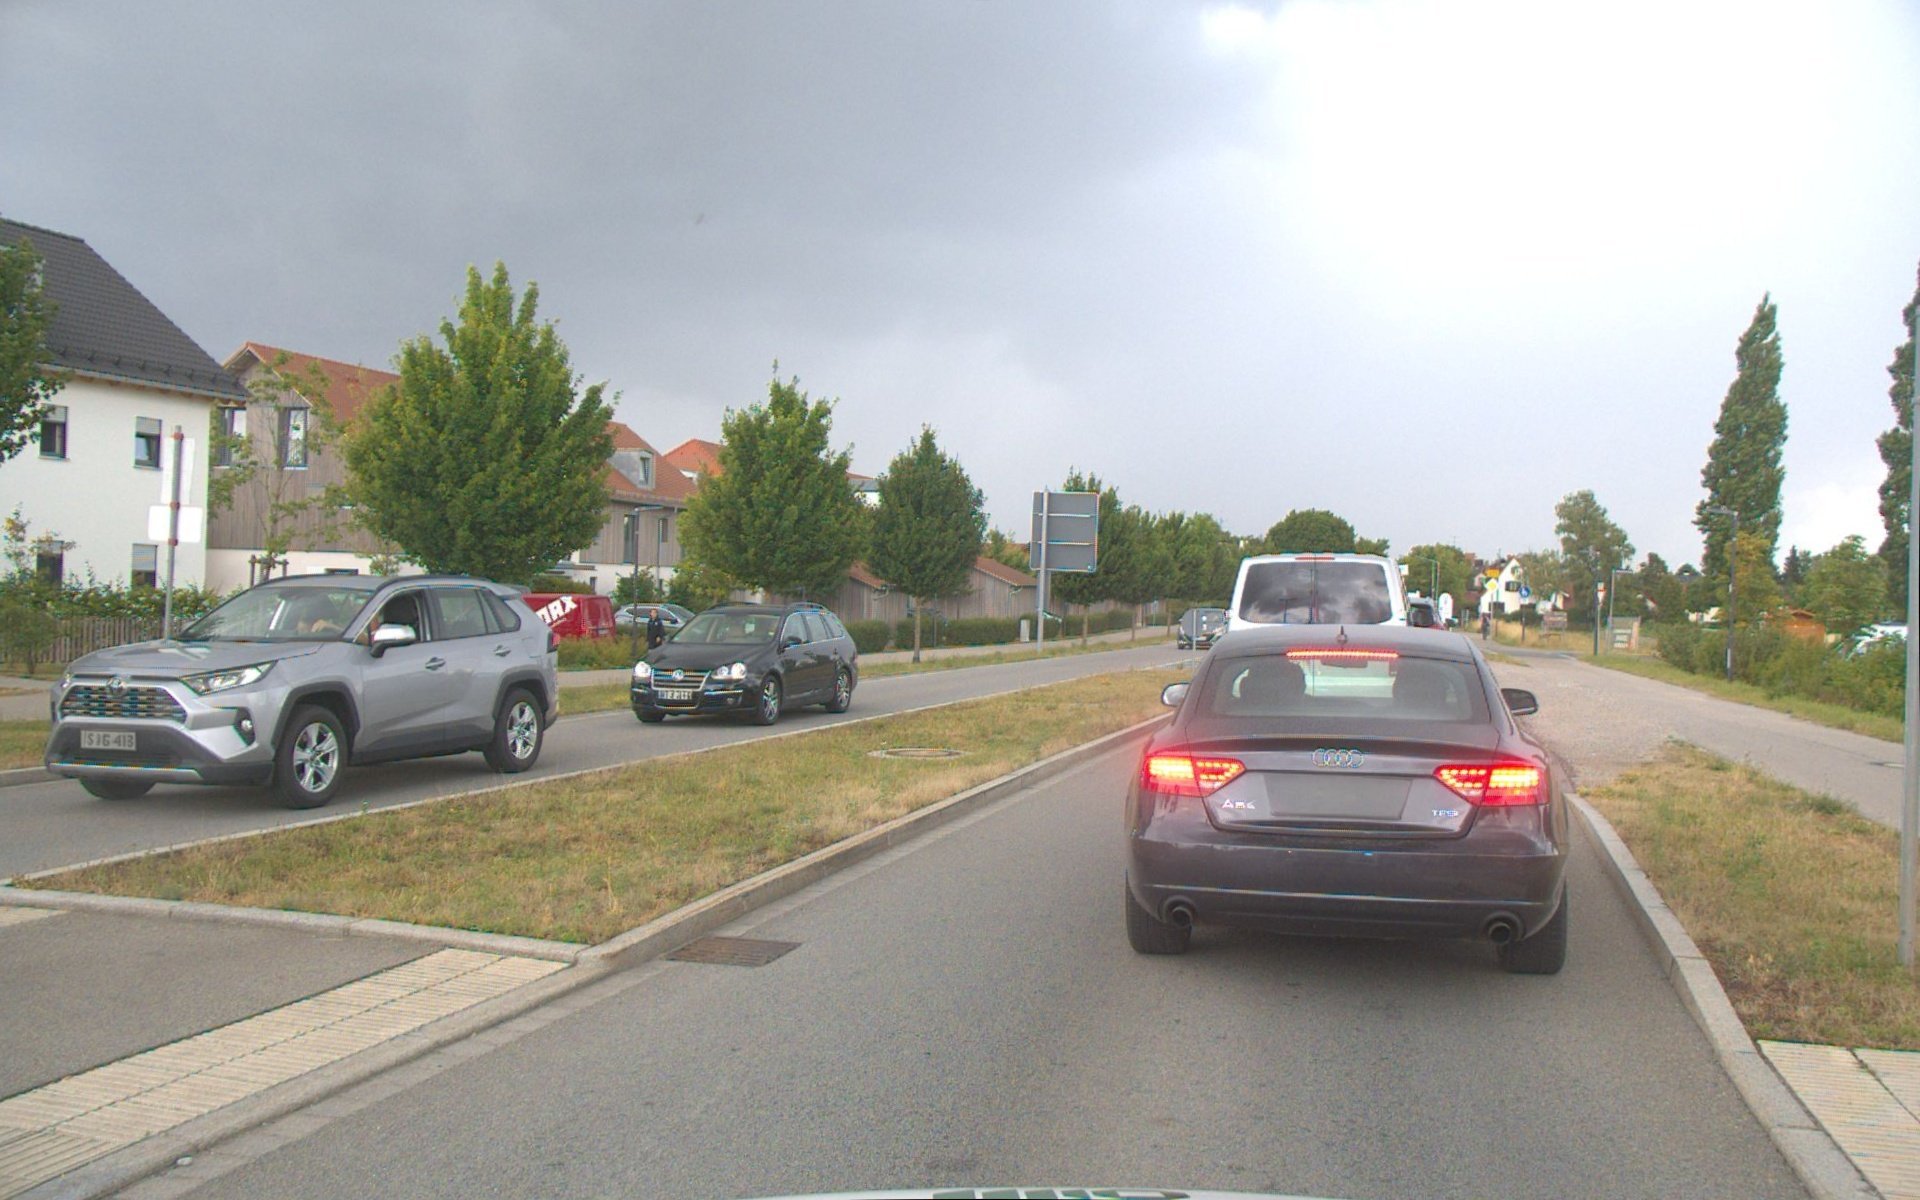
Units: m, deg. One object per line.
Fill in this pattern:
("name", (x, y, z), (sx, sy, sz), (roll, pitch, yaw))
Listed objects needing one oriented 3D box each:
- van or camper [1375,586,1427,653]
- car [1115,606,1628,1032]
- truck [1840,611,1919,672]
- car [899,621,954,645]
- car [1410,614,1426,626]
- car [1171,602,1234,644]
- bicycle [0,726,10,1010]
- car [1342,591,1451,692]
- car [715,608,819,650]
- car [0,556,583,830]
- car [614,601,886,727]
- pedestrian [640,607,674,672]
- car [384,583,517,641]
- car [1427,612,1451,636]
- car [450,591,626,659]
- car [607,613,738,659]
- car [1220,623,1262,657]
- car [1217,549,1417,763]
("van or camper", (24.085, 1.088, 90.379), (2.569, 3.382, 6.825), (2, -1, 15))
("car", (1.923, 0.766, 7.935), (1.746, 1.416, 4.136), (2, 0, 13))
("truck", (32.080, 1.431, 54.854), (4.694, 1.905, 2.002), (2, 0, 11))
("car", (-1.575, 1.566, 78.605), (2.419, 1.046, 1.186), (2, 0, 10))
("car", (49.901, 2.151, 180.255), (1.579, 1.294, 3.463), (2, 0, 16))
("car", (8.926, 0.886, 60.641), (1.693, 1.435, 4.208), (-2, -2, 16))
("bicycle", (-4.137, 0.913, 5.604), (1.671, 0.963, 0.498), (0, 0, 11))
("car", (7.880, 0.704, 29.843), (1.739, 1.646, 4.003), (2, 0, 15))
("car", (-7.526, 1.116, 64.562), (3.650, 1.508, 1.688), (2, 0, 13))
("car", (-4.992, 0.597, 12.966), (1.951, 1.733, 4.637), (0, 0, 17))
("car", (-2.558, 0.752, 21.357), (1.717, 1.441, 4.457), (0, -1, 19))
("pedestrian", (-7.574, 0.983, 41.382), (0.569, 1.586, 0.660), (2, 0, 14))
("car", (-17.159, 0.426, 55.932), (1.952, 1.803, 4.466), (2, 0, 20))
("car", (34.275, 1.703, 118.468), (1.579, 1.659, 3.618), (2, 0, 16))
("car", (-11.921, 0.680, 46.762), (4.436, 1.709, 2.001), (2, 0, 19))
("car", (-9.520, 1.171, 54.941), (3.831, 1.338, 1.844), (2, 0, 13))
("car", (14.579, 2.057, 85.744), (1.827, 1.601, 4.003), (2, 0, 14))
("car", (3.776, 0.515, 17.361), (1.827, 1.968, 4.003), (0, 0, 13))
